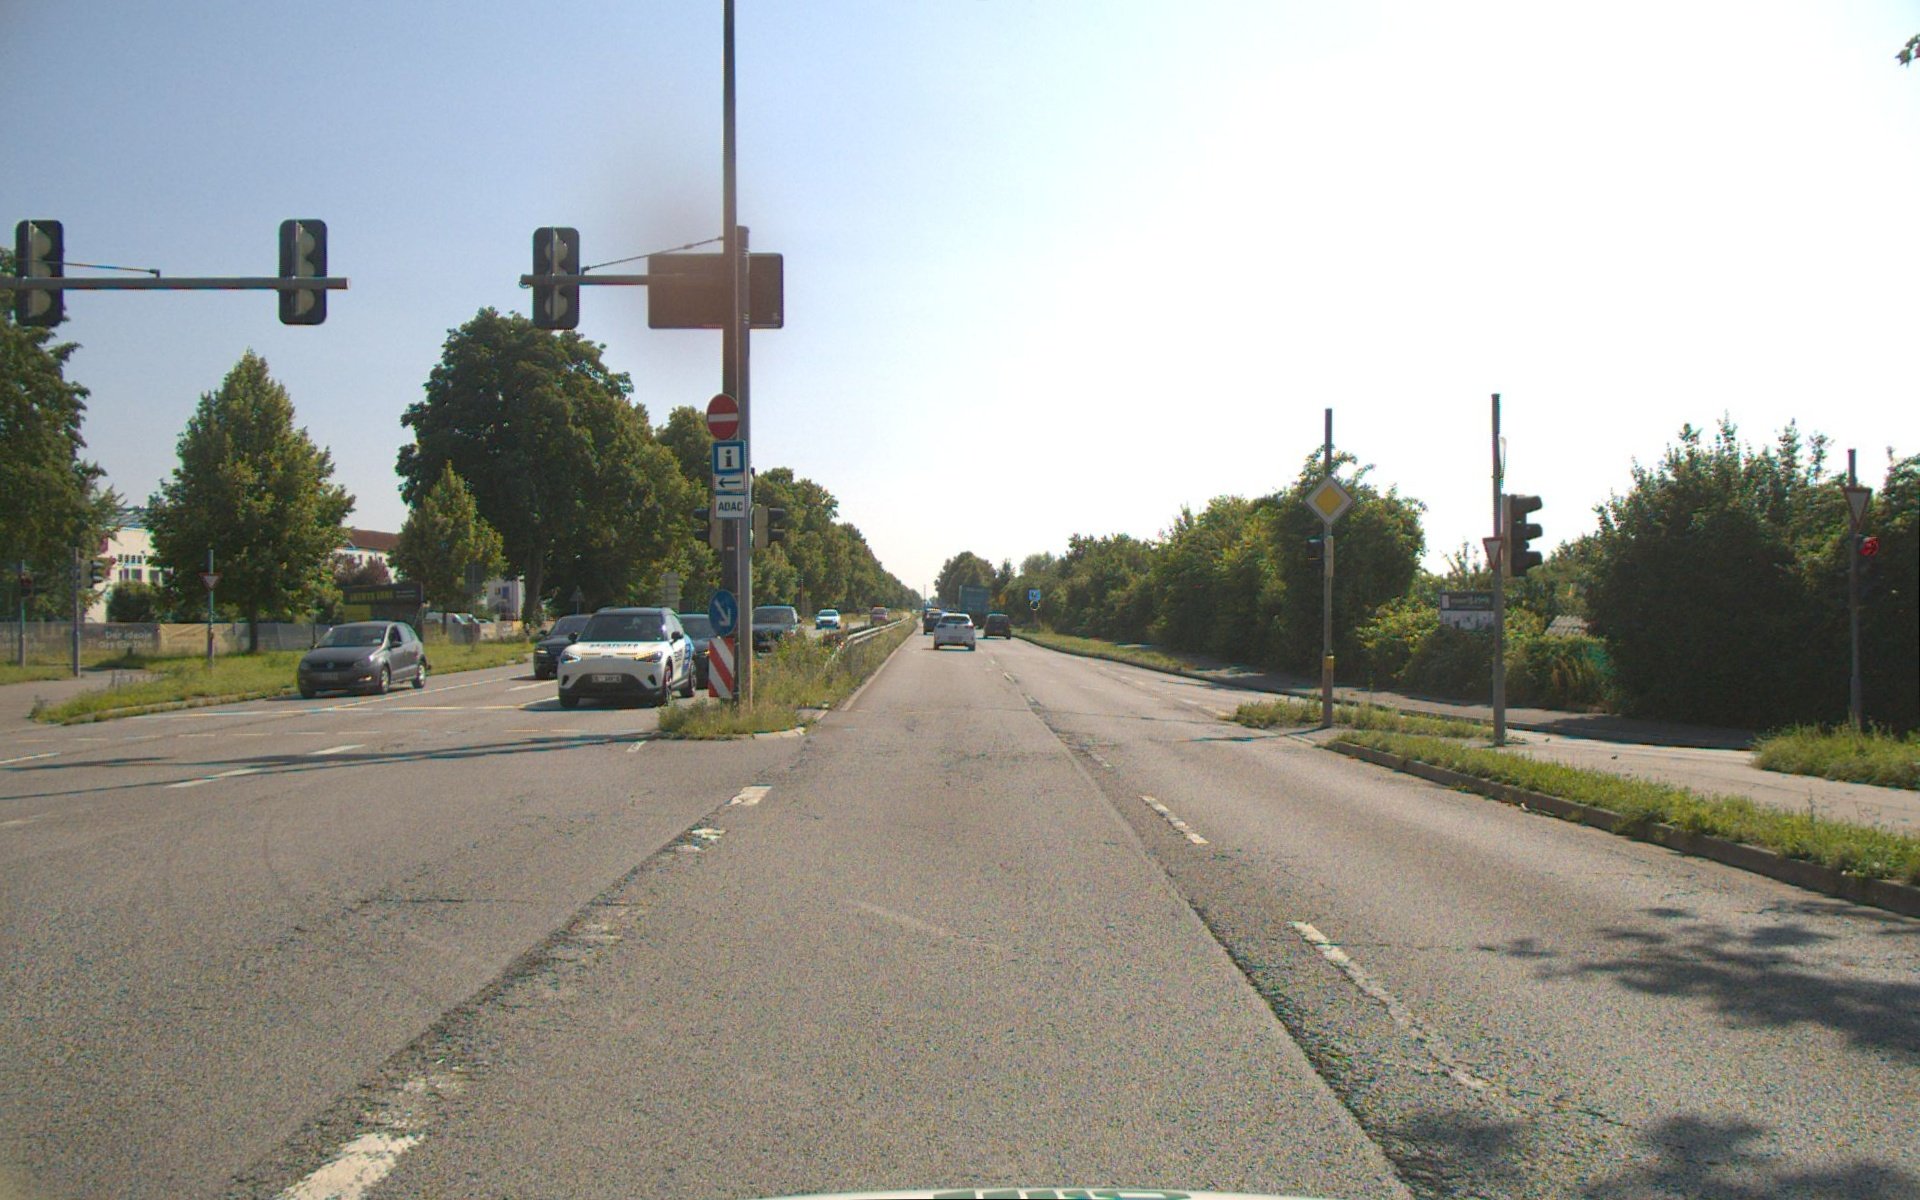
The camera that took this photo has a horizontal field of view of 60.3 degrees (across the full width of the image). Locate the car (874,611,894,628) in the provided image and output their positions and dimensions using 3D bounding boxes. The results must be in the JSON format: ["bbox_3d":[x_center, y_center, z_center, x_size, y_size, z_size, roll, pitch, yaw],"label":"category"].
[{"bbox_3d":[-7.148,1.811,156.053,1.874,1.529,4.089,0,0,-2],"label":"car"}]

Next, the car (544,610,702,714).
[{"bbox_3d":[-5.750,1.012,28.730,1.969,1.638,4.210,0,0,-1],"label":"car"}]

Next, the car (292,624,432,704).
[{"bbox_3d":[-12.099,1.254,33.679,1.455,1.439,3.761,-2,0,-1],"label":"car"}]

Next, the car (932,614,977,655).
[{"bbox_3d":[-0.216,1.393,67.696,1.762,1.580,4.000,1,0,0],"label":"car"}]

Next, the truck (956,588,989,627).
[{"bbox_3d":[1.118,0.679,151.038,2.833,3.489,9.167,0,0,-1],"label":"truck"}]

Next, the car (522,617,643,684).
[{"bbox_3d":[-9.020,1.174,39.855,1.890,1.462,4.267,-1,0,0],"label":"car"}]

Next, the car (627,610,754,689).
[{"bbox_3d":[-5.667,0.997,35.319,1.779,1.511,4.894,2,0,1],"label":"car"}]

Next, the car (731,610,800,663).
[{"bbox_3d":[-6.207,1.134,53.214,1.809,1.622,4.615,0,-1,-2],"label":"car"}]

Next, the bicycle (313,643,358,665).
[{"bbox_3d":[-28.499,2.443,75.524,0.819,0.967,2.513,0,-1,8],"label":"bicycle"}]

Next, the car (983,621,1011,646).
[{"bbox_3d":[2.195,1.995,98.433,1.540,1.439,3.277,1,-1,-1],"label":"car"}]

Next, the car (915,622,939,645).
[{"bbox_3d":[-2.144,2.170,108.265,1.540,1.439,3.277,0,0,-1],"label":"car"}]

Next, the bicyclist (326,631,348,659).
[{"bbox_3d":[-28.459,2.055,75.534,0.596,1.238,0.894,0,0,9],"label":"bicyclist"}]

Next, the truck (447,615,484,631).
[{"bbox_3d":[-67.198,3.108,224.949,4.410,2.049,2.051,1,-1,-1],"label":"truck"}]

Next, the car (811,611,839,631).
[{"bbox_3d":[-10.304,1.583,126.845,1.953,1.529,4.089,0,0,-2],"label":"car"}]
